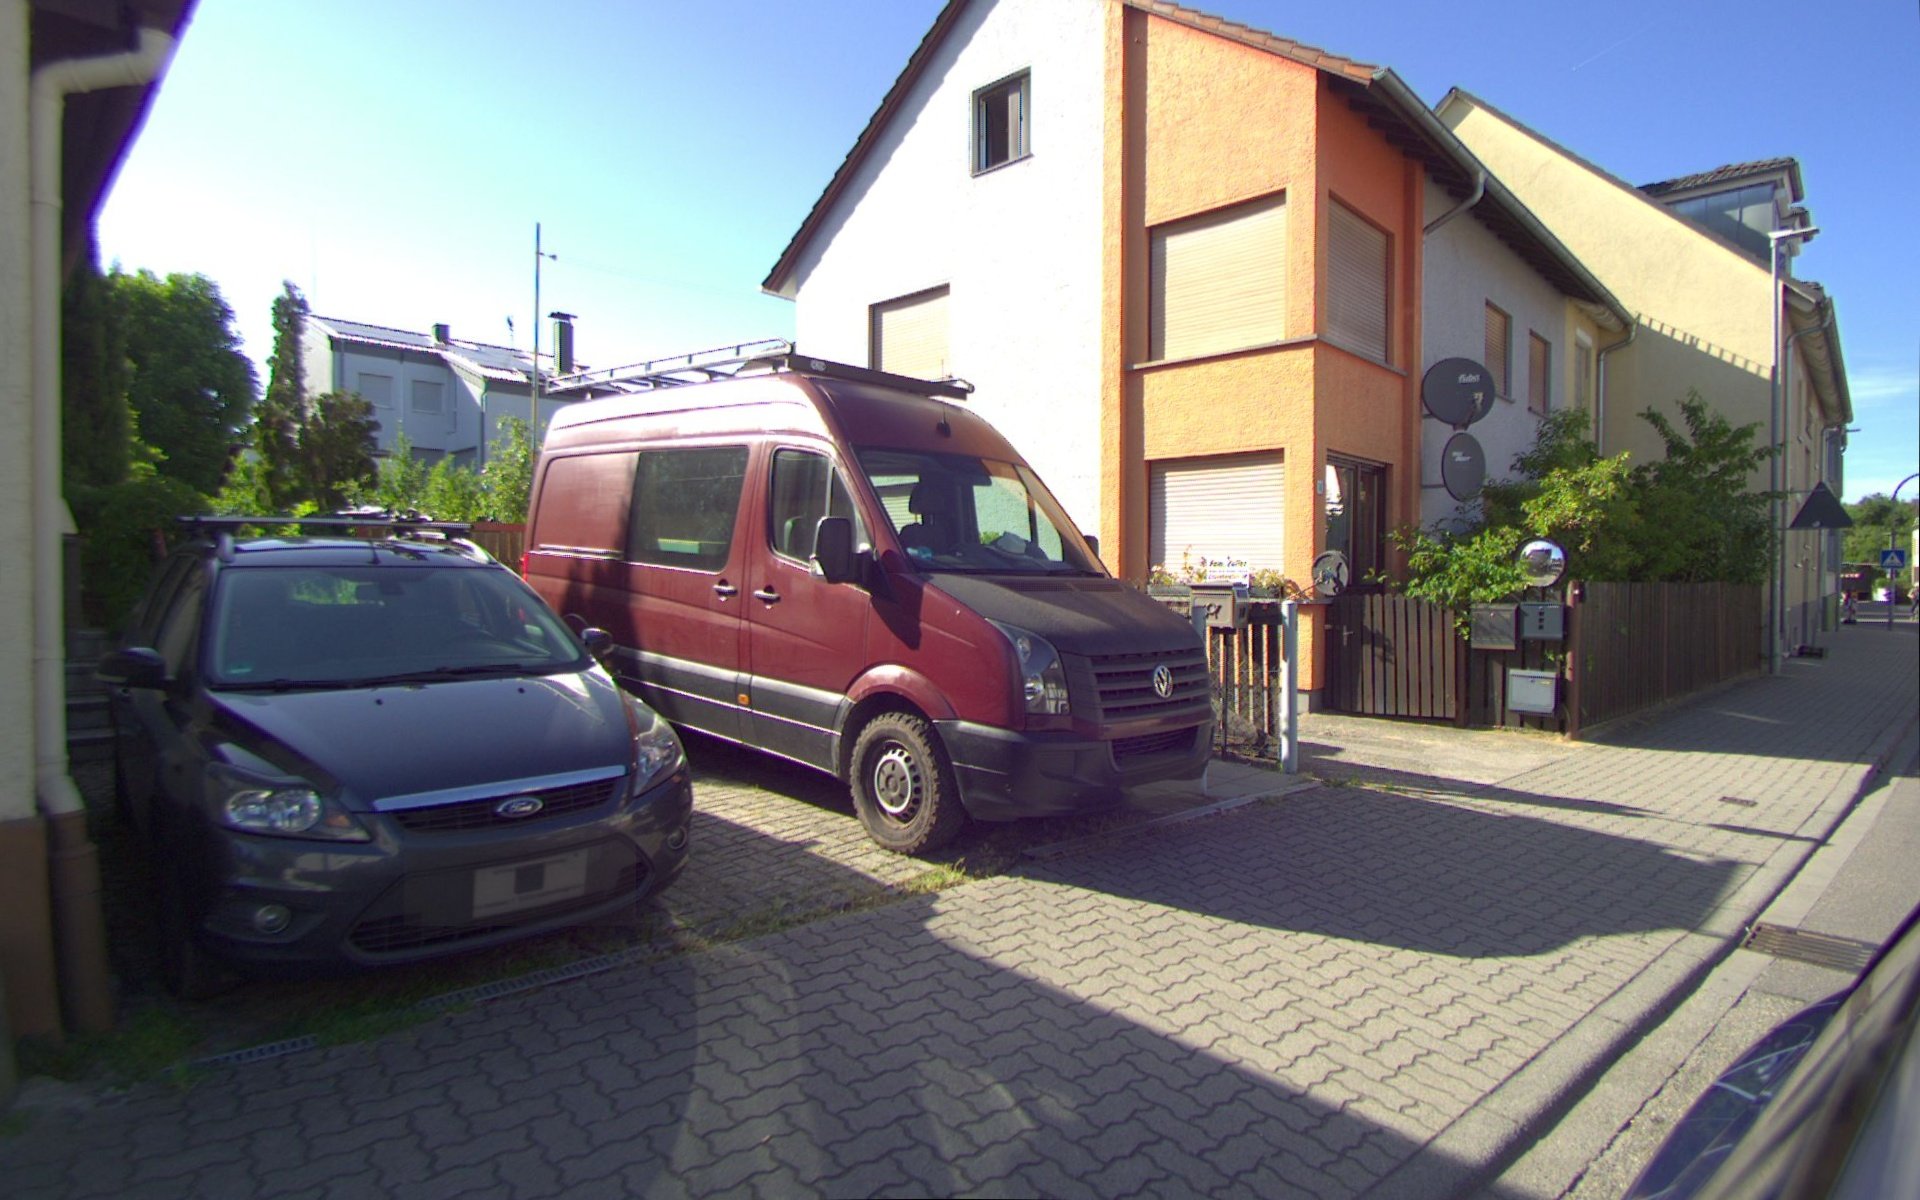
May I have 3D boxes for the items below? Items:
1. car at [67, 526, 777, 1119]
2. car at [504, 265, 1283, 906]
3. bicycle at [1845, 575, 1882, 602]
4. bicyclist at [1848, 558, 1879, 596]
[{"bbox_3d":[-2.854,0.433,4.757,1.810,1.505,4.379,-2,4,-44],"label":"car"},{"bbox_3d":[-0.978,-0.218,6.968,5.805,2.687,1.937,4,4,44],"label":"car"},{"bbox_3d":[57.203,-0.747,64.093,1.249,1.571,3.949,-2,0,35],"label":"bicycle"},{"bbox_3d":[57.233,-1.464,64.148,1.250,2.337,1.227,-2,-1,36],"label":"bicyclist"}]
